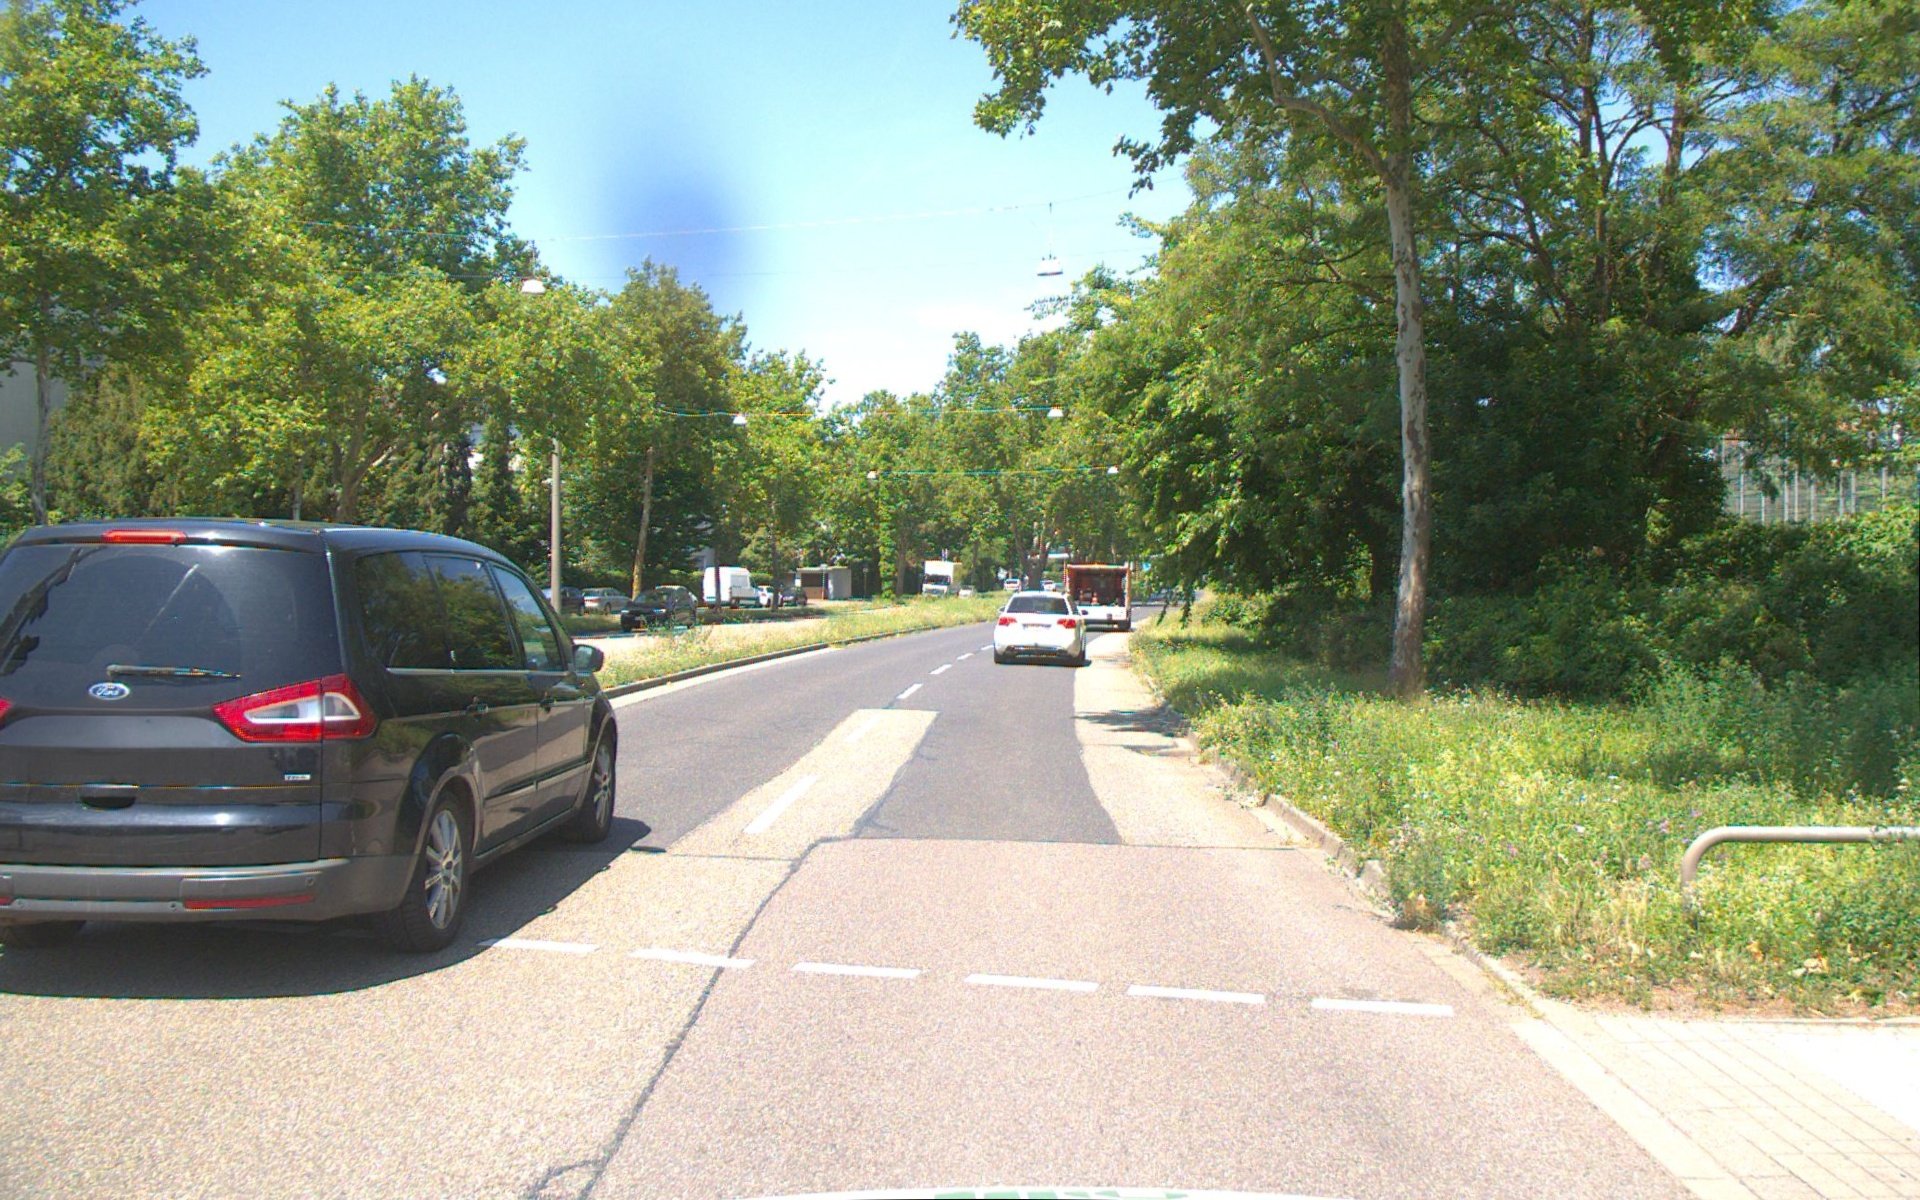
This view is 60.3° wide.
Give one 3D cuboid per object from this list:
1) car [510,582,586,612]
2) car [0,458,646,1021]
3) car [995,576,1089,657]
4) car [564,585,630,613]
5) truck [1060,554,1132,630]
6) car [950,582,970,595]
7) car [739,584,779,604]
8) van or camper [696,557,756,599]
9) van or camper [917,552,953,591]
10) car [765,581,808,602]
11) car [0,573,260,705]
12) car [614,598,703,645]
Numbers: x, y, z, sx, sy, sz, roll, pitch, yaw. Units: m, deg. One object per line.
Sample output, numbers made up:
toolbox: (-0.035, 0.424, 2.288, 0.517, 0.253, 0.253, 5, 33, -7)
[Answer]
car: (-20.406, -0.170, 82.106, 1.842, 1.417, 4.002, 0, 1, 17)
car: (-2.847, 0.412, 7.614, 1.816, 1.786, 4.650, 1, 1, 1)
car: (1.690, 0.301, 33.051, 1.725, 1.470, 3.618, 2, 1, 5)
car: (-19.188, -0.085, 87.557, 1.841, 1.400, 4.003, 0, 1, 14)
truck: (5.184, -0.373, 62.424, 2.458, 2.604, 7.609, 2, 2, 5)
car: (0.008, -1.128, 161.146, 1.874, 1.231, 4.336, -1, 1, 1)
car: (-13.719, -0.441, 113.172, 1.657, 1.306, 3.806, 0, 1, 10)
van or camper: (-15.052, -1.408, 106.652, 2.136, 2.632, 5.314, 0, 1, 11)
van or camper: (-2.217, -2.479, 146.330, 2.604, 3.389, 5.504, 0, 1, 5)
car: (-12.443, -0.608, 118.822, 1.790, 1.415, 3.950, 0, 1, 14)
car: (-10.418, 0.430, 20.383, 1.700, 1.419, 4.179, -2, 0, 1)
car: (-10.700, 0.736, 58.946, 1.773, 1.533, 4.597, 0, 1, 8)
